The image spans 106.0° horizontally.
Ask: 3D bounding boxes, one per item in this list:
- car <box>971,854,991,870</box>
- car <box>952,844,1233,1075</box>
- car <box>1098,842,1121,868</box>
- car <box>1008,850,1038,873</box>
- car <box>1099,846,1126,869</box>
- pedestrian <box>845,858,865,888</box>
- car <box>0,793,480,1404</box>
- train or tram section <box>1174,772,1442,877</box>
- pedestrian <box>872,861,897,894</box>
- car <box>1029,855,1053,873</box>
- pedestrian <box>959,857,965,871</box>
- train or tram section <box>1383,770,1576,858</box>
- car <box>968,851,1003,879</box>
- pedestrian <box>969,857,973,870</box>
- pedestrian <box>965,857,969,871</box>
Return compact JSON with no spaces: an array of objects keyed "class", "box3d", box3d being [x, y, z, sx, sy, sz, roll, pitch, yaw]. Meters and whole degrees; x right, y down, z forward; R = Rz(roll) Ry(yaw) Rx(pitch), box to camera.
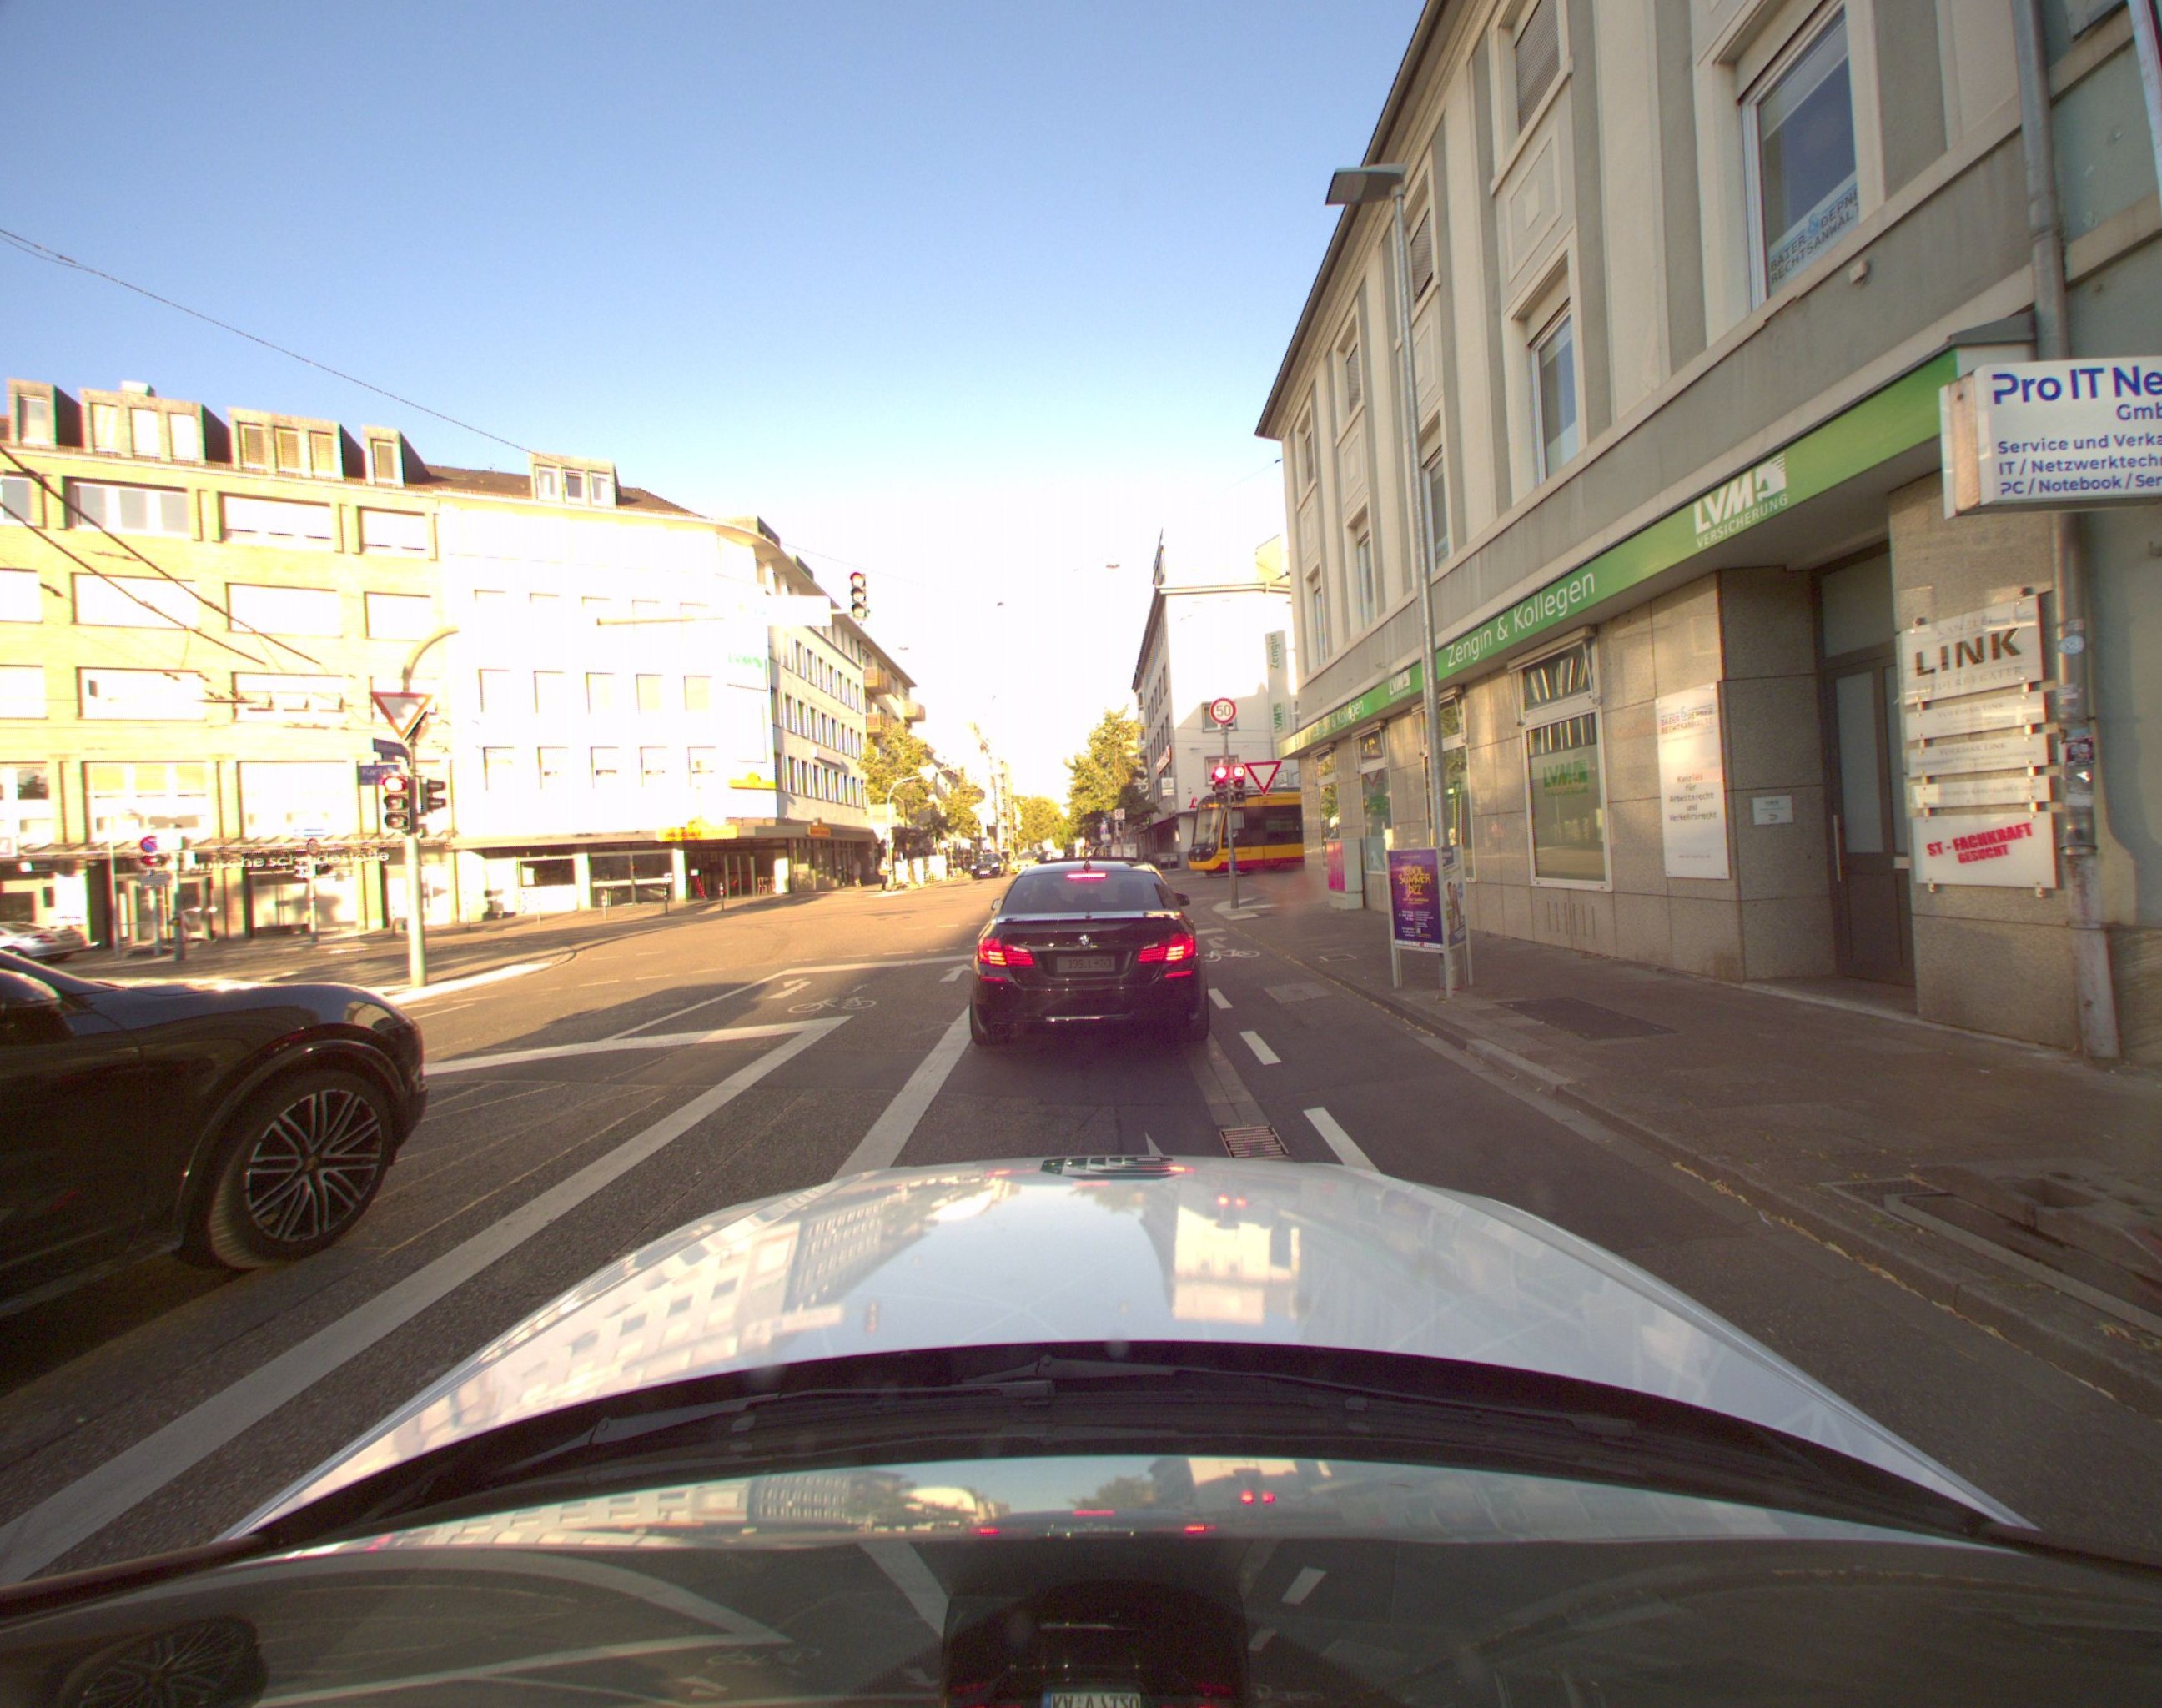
[{"class":"car","box3d":[-9.739,0.763,79.423,1.731,1.461,3.993,-3,0,-5]},{"class":"car","box3d":[0.066,0.701,7.779,1.898,1.540,4.448,-1,0,-1]},{"class":"car","box3d":[2.134,0.055,61.108,1.417,1.854,3.050,-2,0,-2]},{"class":"car","box3d":[-4.152,0.524,57.928,1.990,1.442,3.993,-3,0,-5]},{"class":"car","box3d":[2.106,0.240,54.704,1.620,1.471,3.394,-2,0,0]},{"class":"pedestrian","box3d":[-13.235,1.104,47.753,0.821,1.676,0.871,-3,0,-1]},{"class":"car","box3d":[-4.042,0.750,1.781,1.942,1.714,4.561,-4,0,0]},{"class":"train or tram section","box3d":[10.204,-1.400,35.486,12.696,3.865,3.052,-4,0,-30]},{"class":"pedestrian","box3d":[-9.573,1.148,39.641,0.944,1.537,0.907,-3,0,-3]},{"class":"car","box3d":[-3.196,0.741,64.668,1.731,1.293,3.993,-3,0,-5]},{"class":"pedestrian","box3d":[-12.166,0.999,83.105,0.443,1.416,0.525,-3,0,-2]},{"class":"train or tram section","box3d":[20.301,-2.086,41.196,10.486,3.811,3.053,-4,0,-28]},{"class":"car","box3d":[-6.115,0.656,52.530,1.990,1.618,3.993,-3,0,-5]},{"class":"pedestrian","box3d":[-11.284,0.987,83.438,0.306,1.359,0.284,-3,0,-9]},{"class":"pedestrian","box3d":[-11.668,1.002,83.376,0.306,1.359,0.284,-3,0,-9]}]
